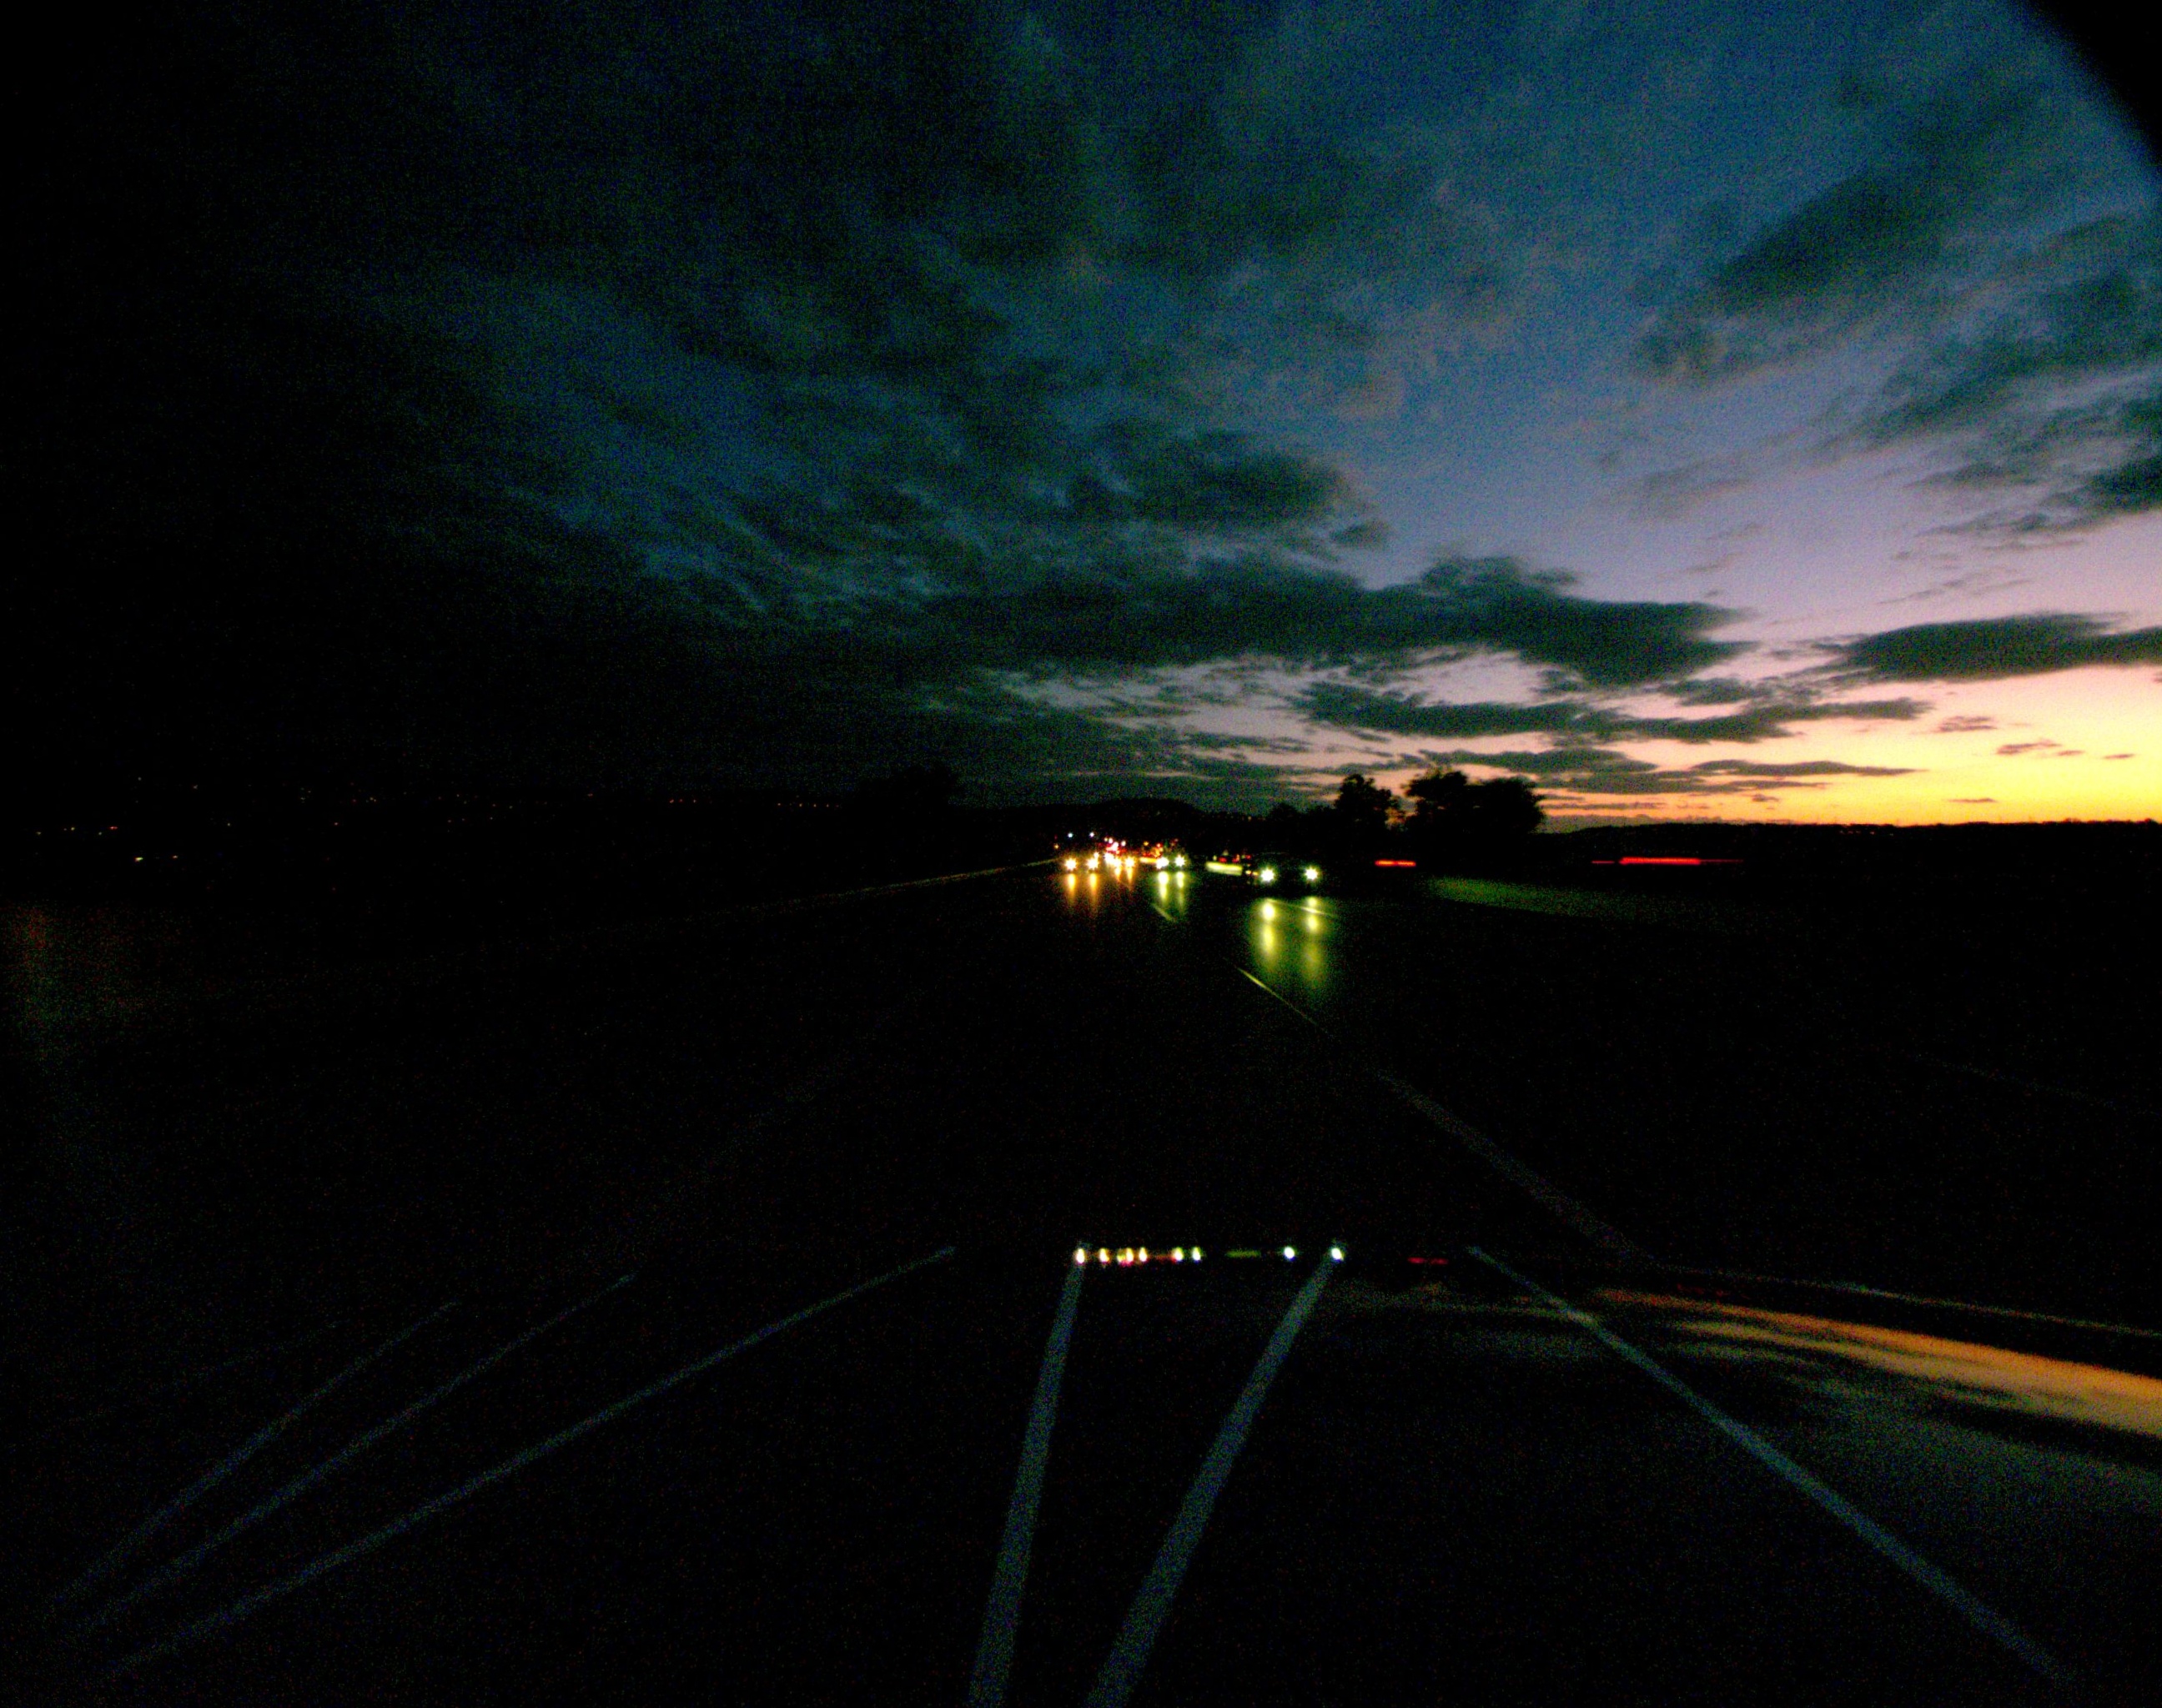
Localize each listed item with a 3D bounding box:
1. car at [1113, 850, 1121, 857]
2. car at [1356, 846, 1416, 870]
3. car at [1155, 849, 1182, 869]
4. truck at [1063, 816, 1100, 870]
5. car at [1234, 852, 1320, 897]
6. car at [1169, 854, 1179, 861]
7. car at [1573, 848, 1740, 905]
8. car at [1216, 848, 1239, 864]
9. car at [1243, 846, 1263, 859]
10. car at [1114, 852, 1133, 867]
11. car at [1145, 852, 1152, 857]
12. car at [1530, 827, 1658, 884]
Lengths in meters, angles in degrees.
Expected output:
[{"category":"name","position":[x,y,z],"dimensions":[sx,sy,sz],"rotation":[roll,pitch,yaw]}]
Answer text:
[{"category":"car","position":[9.315,-0.199,199.289],"dimensions":[1.862,1.826,3.999],"rotation":[-2,1,0]},{"category":"car","position":[19.699,0.195,49.277],"dimensions":[1.998,1.404,4.658],"rotation":[-2,1,1]},{"category":"car","position":[7.709,0.433,67.264],"dimensions":[1.819,1.638,4.856],"rotation":[-2,1,0]},{"category":"truck","position":[0.118,-0.937,71.466],"dimensions":[3.012,4.570,12.577],"rotation":[-2,0,0]},{"category":"car","position":[7.204,0.696,28.550],"dimensions":[1.819,1.429,5.394],"rotation":[-2,1,0]},{"category":"car","position":[20.572,0.676,168.243],"dimensions":[1.864,1.445,4.274],"rotation":[-2,1,0]},{"category":"car","position":[15.923,0.555,21.293],"dimensions":[1.737,1.362,3.900],"rotation":[-2,1,1]},{"category":"car","position":[16.501,0.189,85.957],"dimensions":[1.703,1.608,4.625],"rotation":[-2,1,1]},{"category":"car","position":[24.049,-0.250,106.332],"dimensions":[1.664,1.634,4.793],"rotation":[-2,1,1]},{"category":"car","position":[4.731,0.576,84.772],"dimensions":[1.802,1.531,4.158],"rotation":[-2,1,0]},{"category":"car","position":[21.274,0.051,239.927],"dimensions":[1.748,1.354,4.111],"rotation":[-2,1,0]},{"category":"car","position":[23.510,0.016,35.159],"dimensions":[1.998,2.374,5.835],"rotation":[-2,1,1]}]
